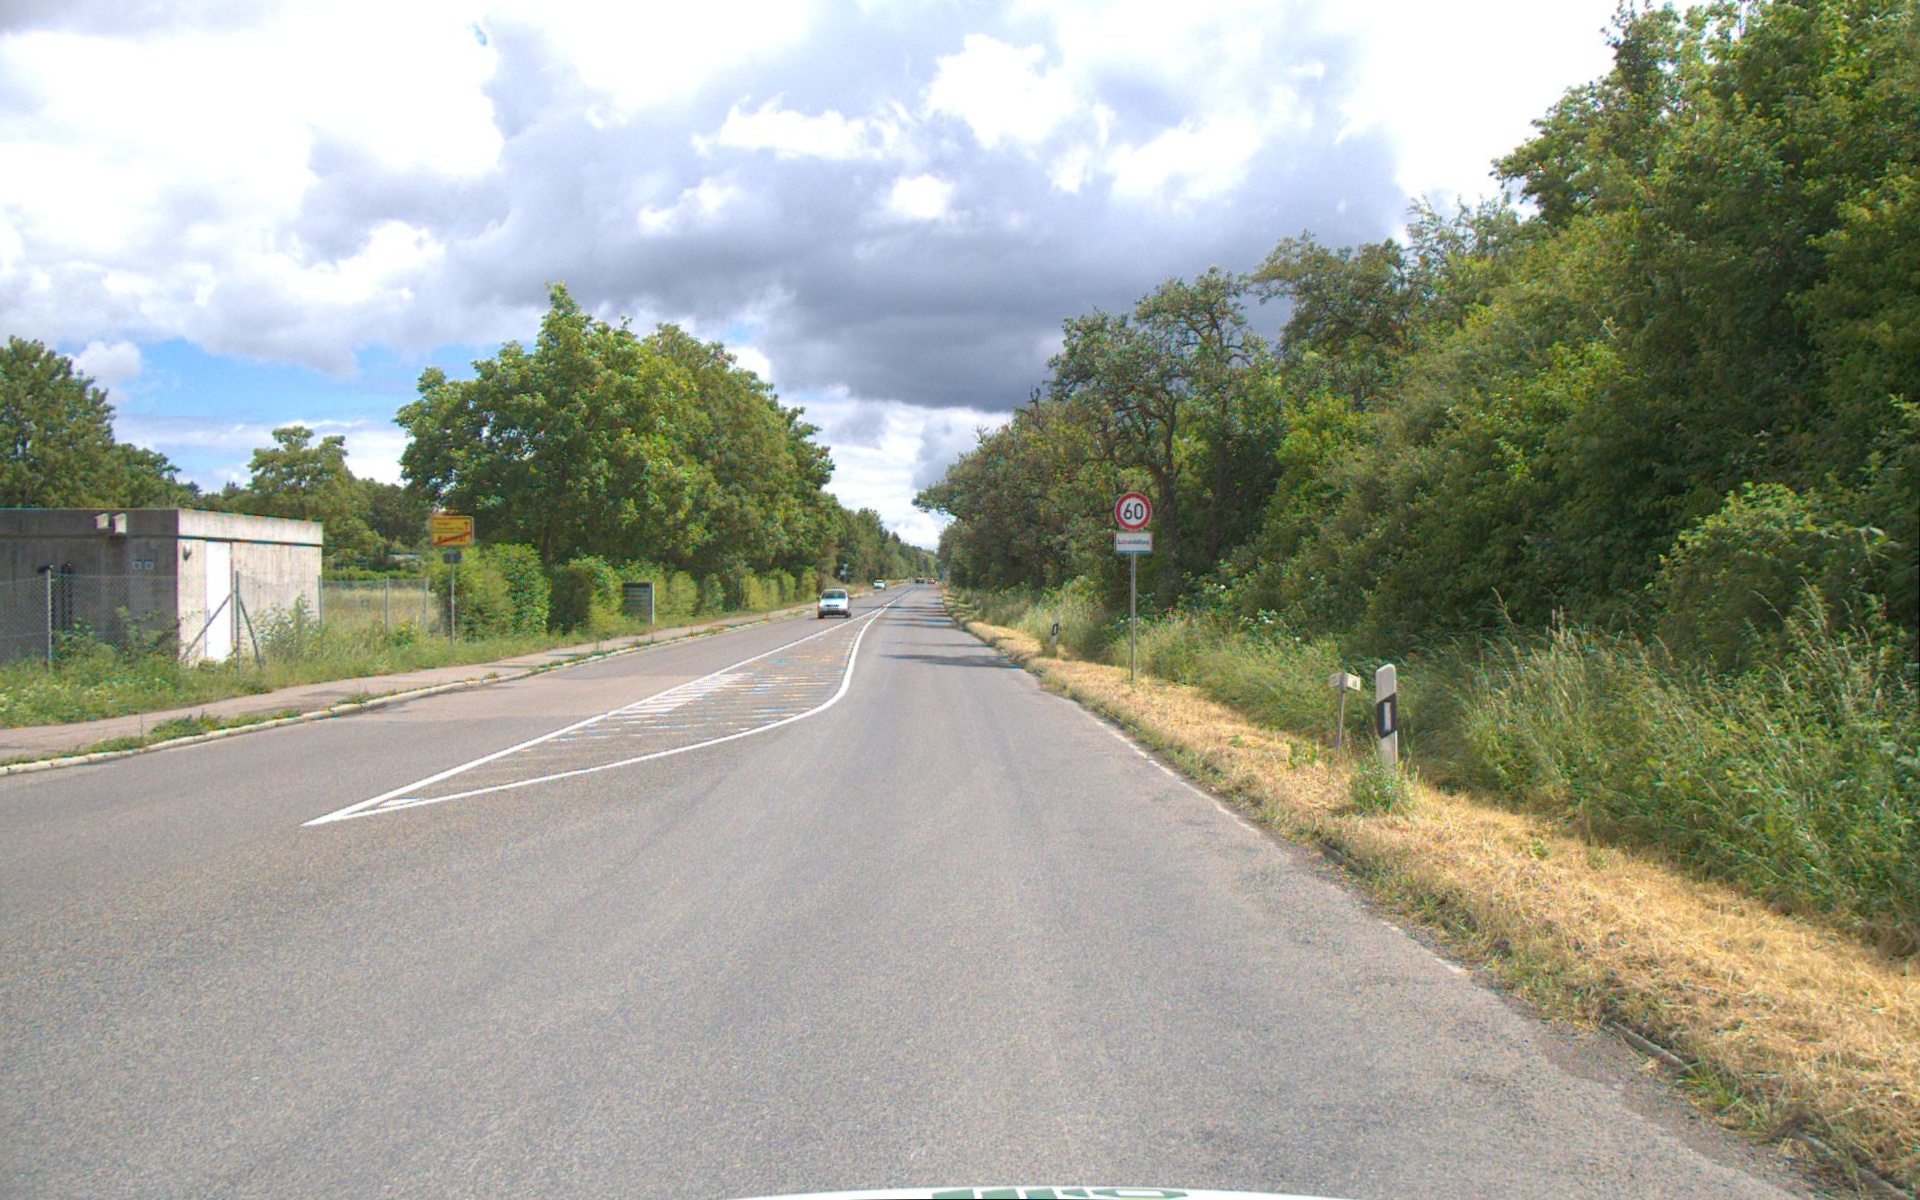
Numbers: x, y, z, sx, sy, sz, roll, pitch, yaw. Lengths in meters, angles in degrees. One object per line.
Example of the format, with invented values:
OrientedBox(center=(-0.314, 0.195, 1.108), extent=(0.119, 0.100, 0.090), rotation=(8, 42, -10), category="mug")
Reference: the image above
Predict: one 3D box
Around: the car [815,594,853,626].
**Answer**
OrientedBox(center=(-6.314, 0.488, 82.995), extent=(1.627, 1.457, 3.692), rotation=(-1, 1, -1), category="car")
